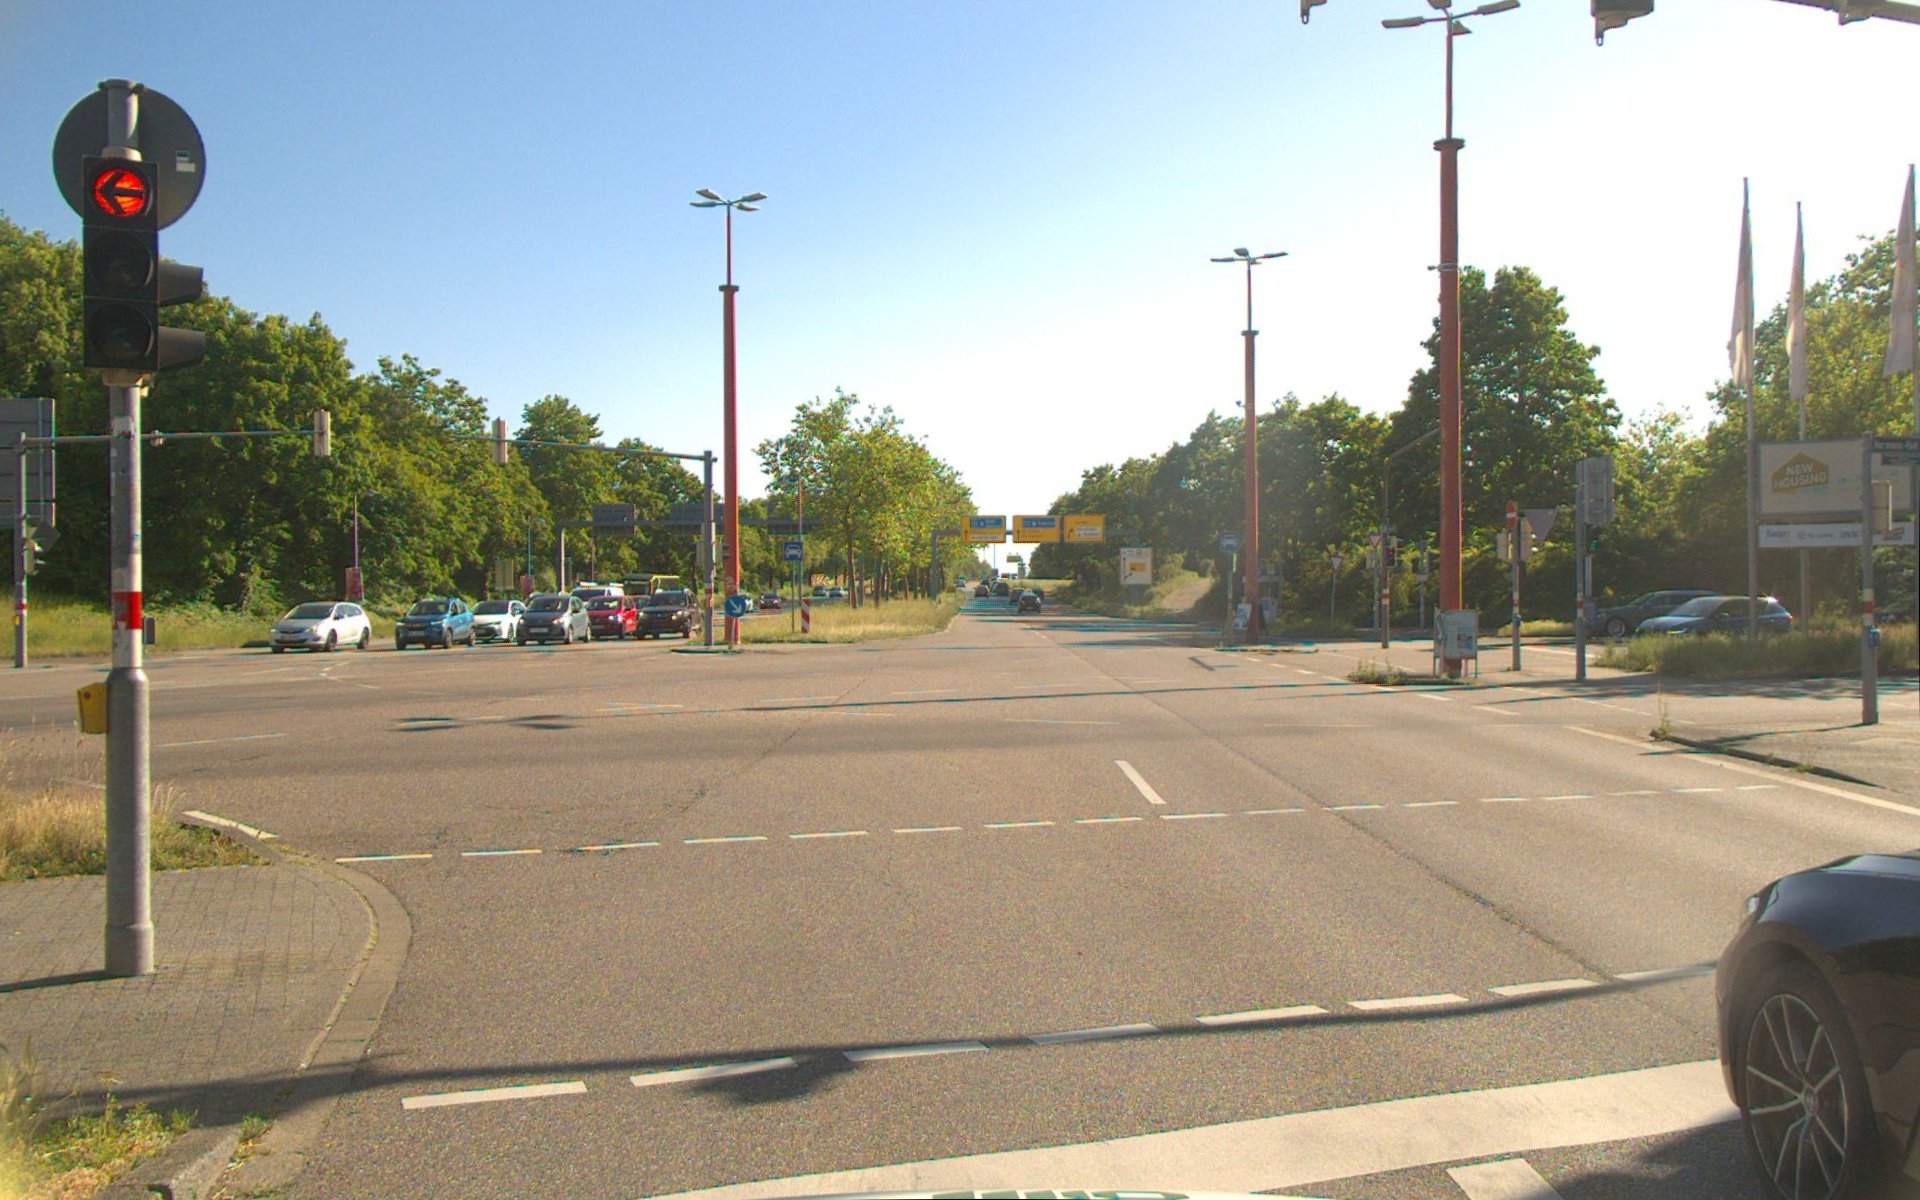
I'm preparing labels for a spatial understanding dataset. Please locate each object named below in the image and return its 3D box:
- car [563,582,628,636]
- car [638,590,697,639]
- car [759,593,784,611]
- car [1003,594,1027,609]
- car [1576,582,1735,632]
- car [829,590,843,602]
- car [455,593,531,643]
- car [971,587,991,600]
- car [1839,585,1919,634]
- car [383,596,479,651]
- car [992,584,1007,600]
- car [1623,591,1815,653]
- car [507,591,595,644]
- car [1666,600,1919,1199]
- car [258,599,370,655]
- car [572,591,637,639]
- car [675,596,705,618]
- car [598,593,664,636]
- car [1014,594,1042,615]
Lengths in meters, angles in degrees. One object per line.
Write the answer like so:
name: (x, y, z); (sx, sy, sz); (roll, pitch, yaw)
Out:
car: (-15.667, 0.383, 71.275); (2.021, 2.231, 4.376); (0, 0, -3)
car: (-9.871, 0.469, 56.000); (1.841, 1.601, 4.113); (0, 0, -8)
car: (-17.548, 0.173, 153.910); (1.953, 1.601, 4.119); (0, 0, -1)
car: (5.760, 0.148, 173.233); (2.116, 1.601, 4.277); (0, 0, -4)
car: (23.193, 0.231, 55.315); (4.471, 1.601, 2.167); (0, 0, 6)
car: (-16.674, -0.496, 221.653); (1.840, 1.601, 3.943); (0, 0, -5)
car: (-15.987, 0.594, 56.794); (1.956, 1.601, 4.113); (-1, 0, -8)
car: (2.653, -0.777, 210.268); (2.202, 1.601, 4.276); (0, 0, -5)
car: (32.130, 0.288, 55.459); (4.180, 1.601, 2.165); (0, 0, -1)
car: (-16.205, 0.679, 50.901); (1.955, 1.601, 4.116); (0, 0, -5)
car: (5.407, -1.070, 225.558); (1.953, 2.049, 3.999); (0, 0, -1)
car: (18.761, 0.527, 40.908); (4.201, 1.453, 1.874); (0, 0, -19)
car: (-12.802, 0.519, 51.974); (1.954, 1.601, 4.118); (0, 0, -4)
car: (2.972, 0.712, 2.369); (1.953, 1.419, 4.476); (0, 0, -1)
car: (-19.584, 0.783, 50.308); (1.954, 1.601, 4.118); (0, 0, -3)
car: (-12.475, 0.504, 58.281); (1.956, 1.601, 4.113); (0, 0, -8)
car: (-20.330, 0.525, 124.631); (1.840, 1.601, 4.116); (0, 0, -5)
car: (-12.707, 0.525, 64.056); (1.954, 1.601, 4.117); (0, 0, -4)
car: (5.293, 0.365, 129.118); (2.114, 1.601, 4.281); (0, 0, 1)
